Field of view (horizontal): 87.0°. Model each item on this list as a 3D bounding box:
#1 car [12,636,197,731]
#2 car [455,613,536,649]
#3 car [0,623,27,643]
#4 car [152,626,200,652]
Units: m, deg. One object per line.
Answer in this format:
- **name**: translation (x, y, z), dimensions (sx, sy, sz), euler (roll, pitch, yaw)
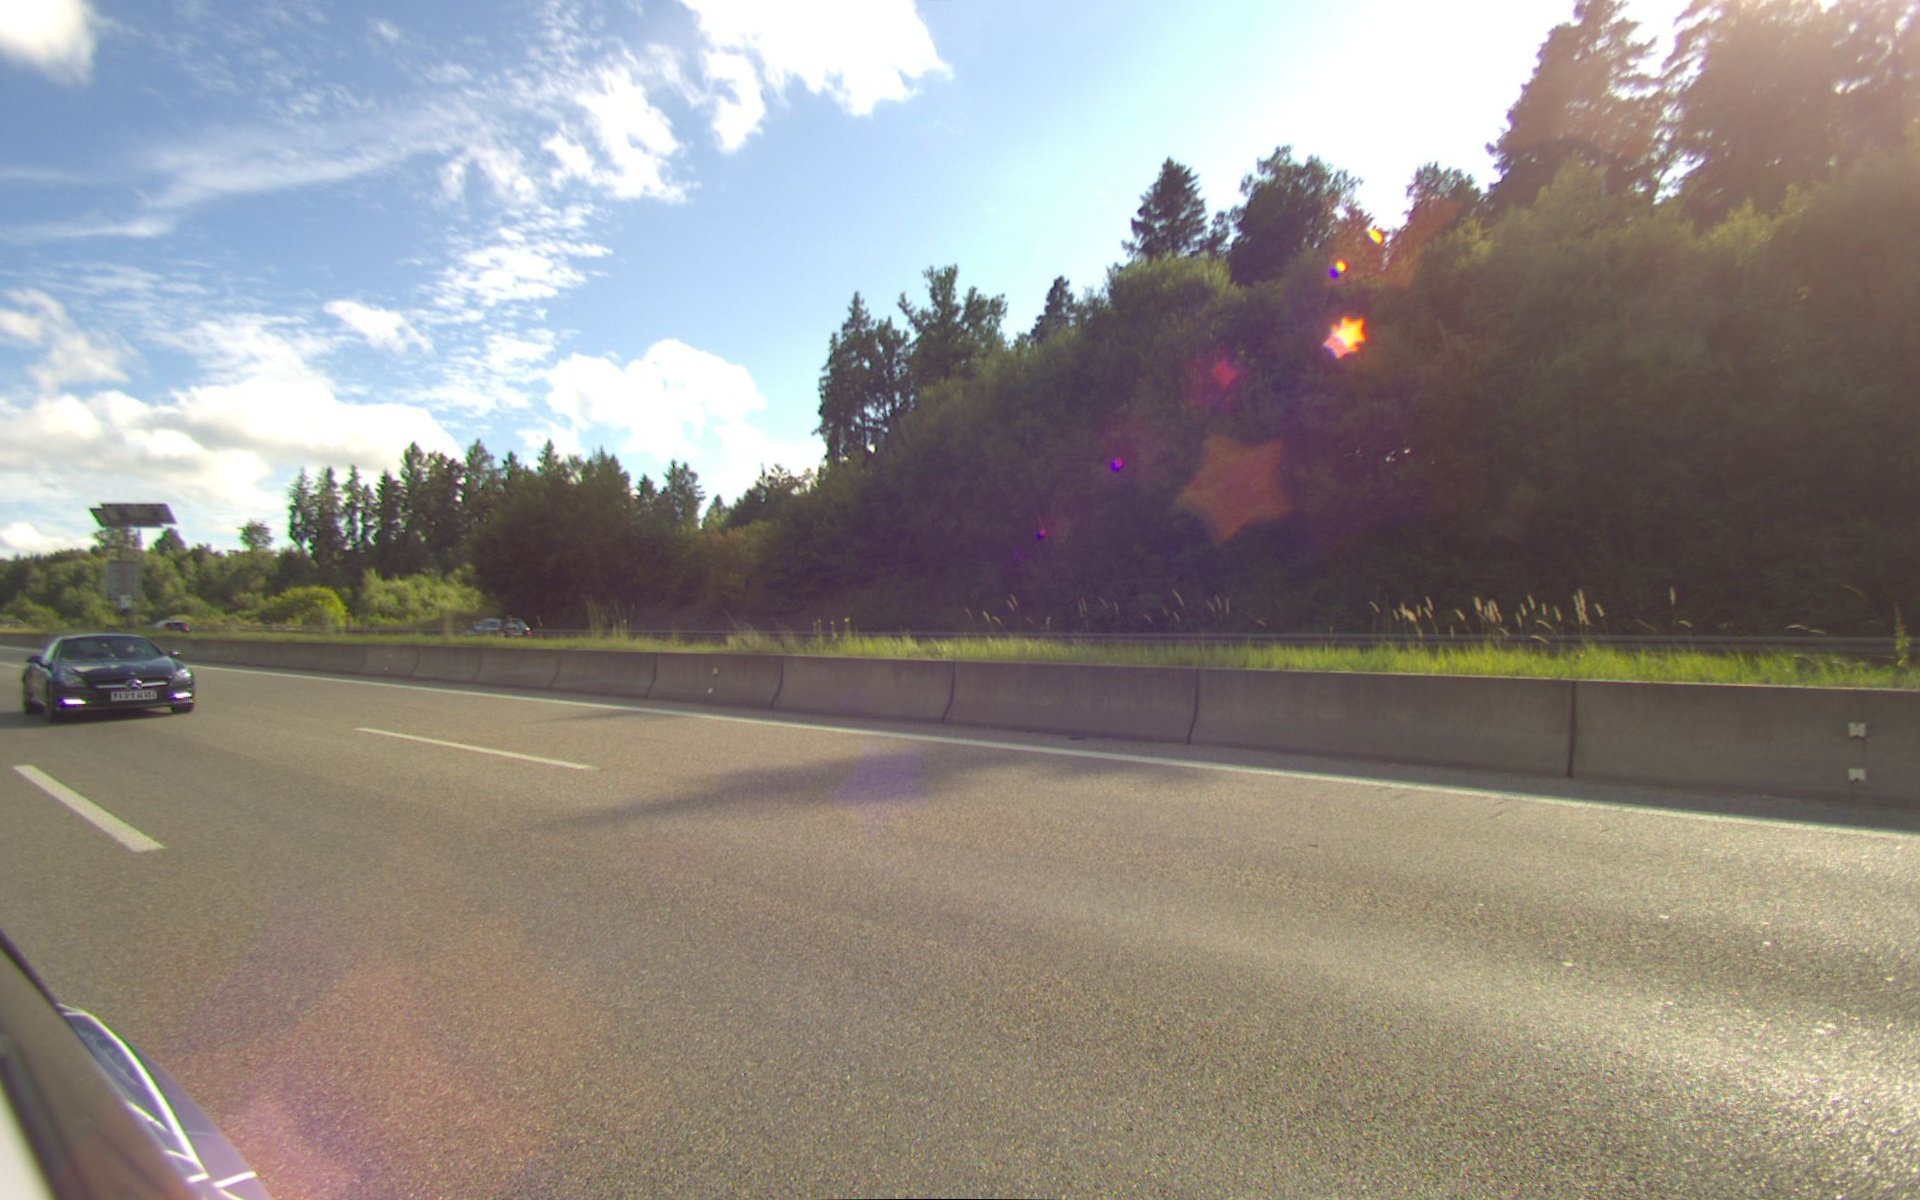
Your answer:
- **car**: translation (-14.055, 1.267, 16.545), dimensions (4.197, 1.293, 1.726), euler (-2, -1, 42)
- **car**: translation (-22.488, 1.490, 48.929), dimensions (4.567, 1.640, 1.860), euler (-2, -1, 41)
- **car**: translation (-100.844, 3.499, 107.627), dimensions (4.069, 2.029, 1.973), euler (-2, -1, 40)
- **car**: translation (-59.031, 2.928, 76.179), dimensions (4.434, 1.895, 1.973), euler (-2, -1, 40)
